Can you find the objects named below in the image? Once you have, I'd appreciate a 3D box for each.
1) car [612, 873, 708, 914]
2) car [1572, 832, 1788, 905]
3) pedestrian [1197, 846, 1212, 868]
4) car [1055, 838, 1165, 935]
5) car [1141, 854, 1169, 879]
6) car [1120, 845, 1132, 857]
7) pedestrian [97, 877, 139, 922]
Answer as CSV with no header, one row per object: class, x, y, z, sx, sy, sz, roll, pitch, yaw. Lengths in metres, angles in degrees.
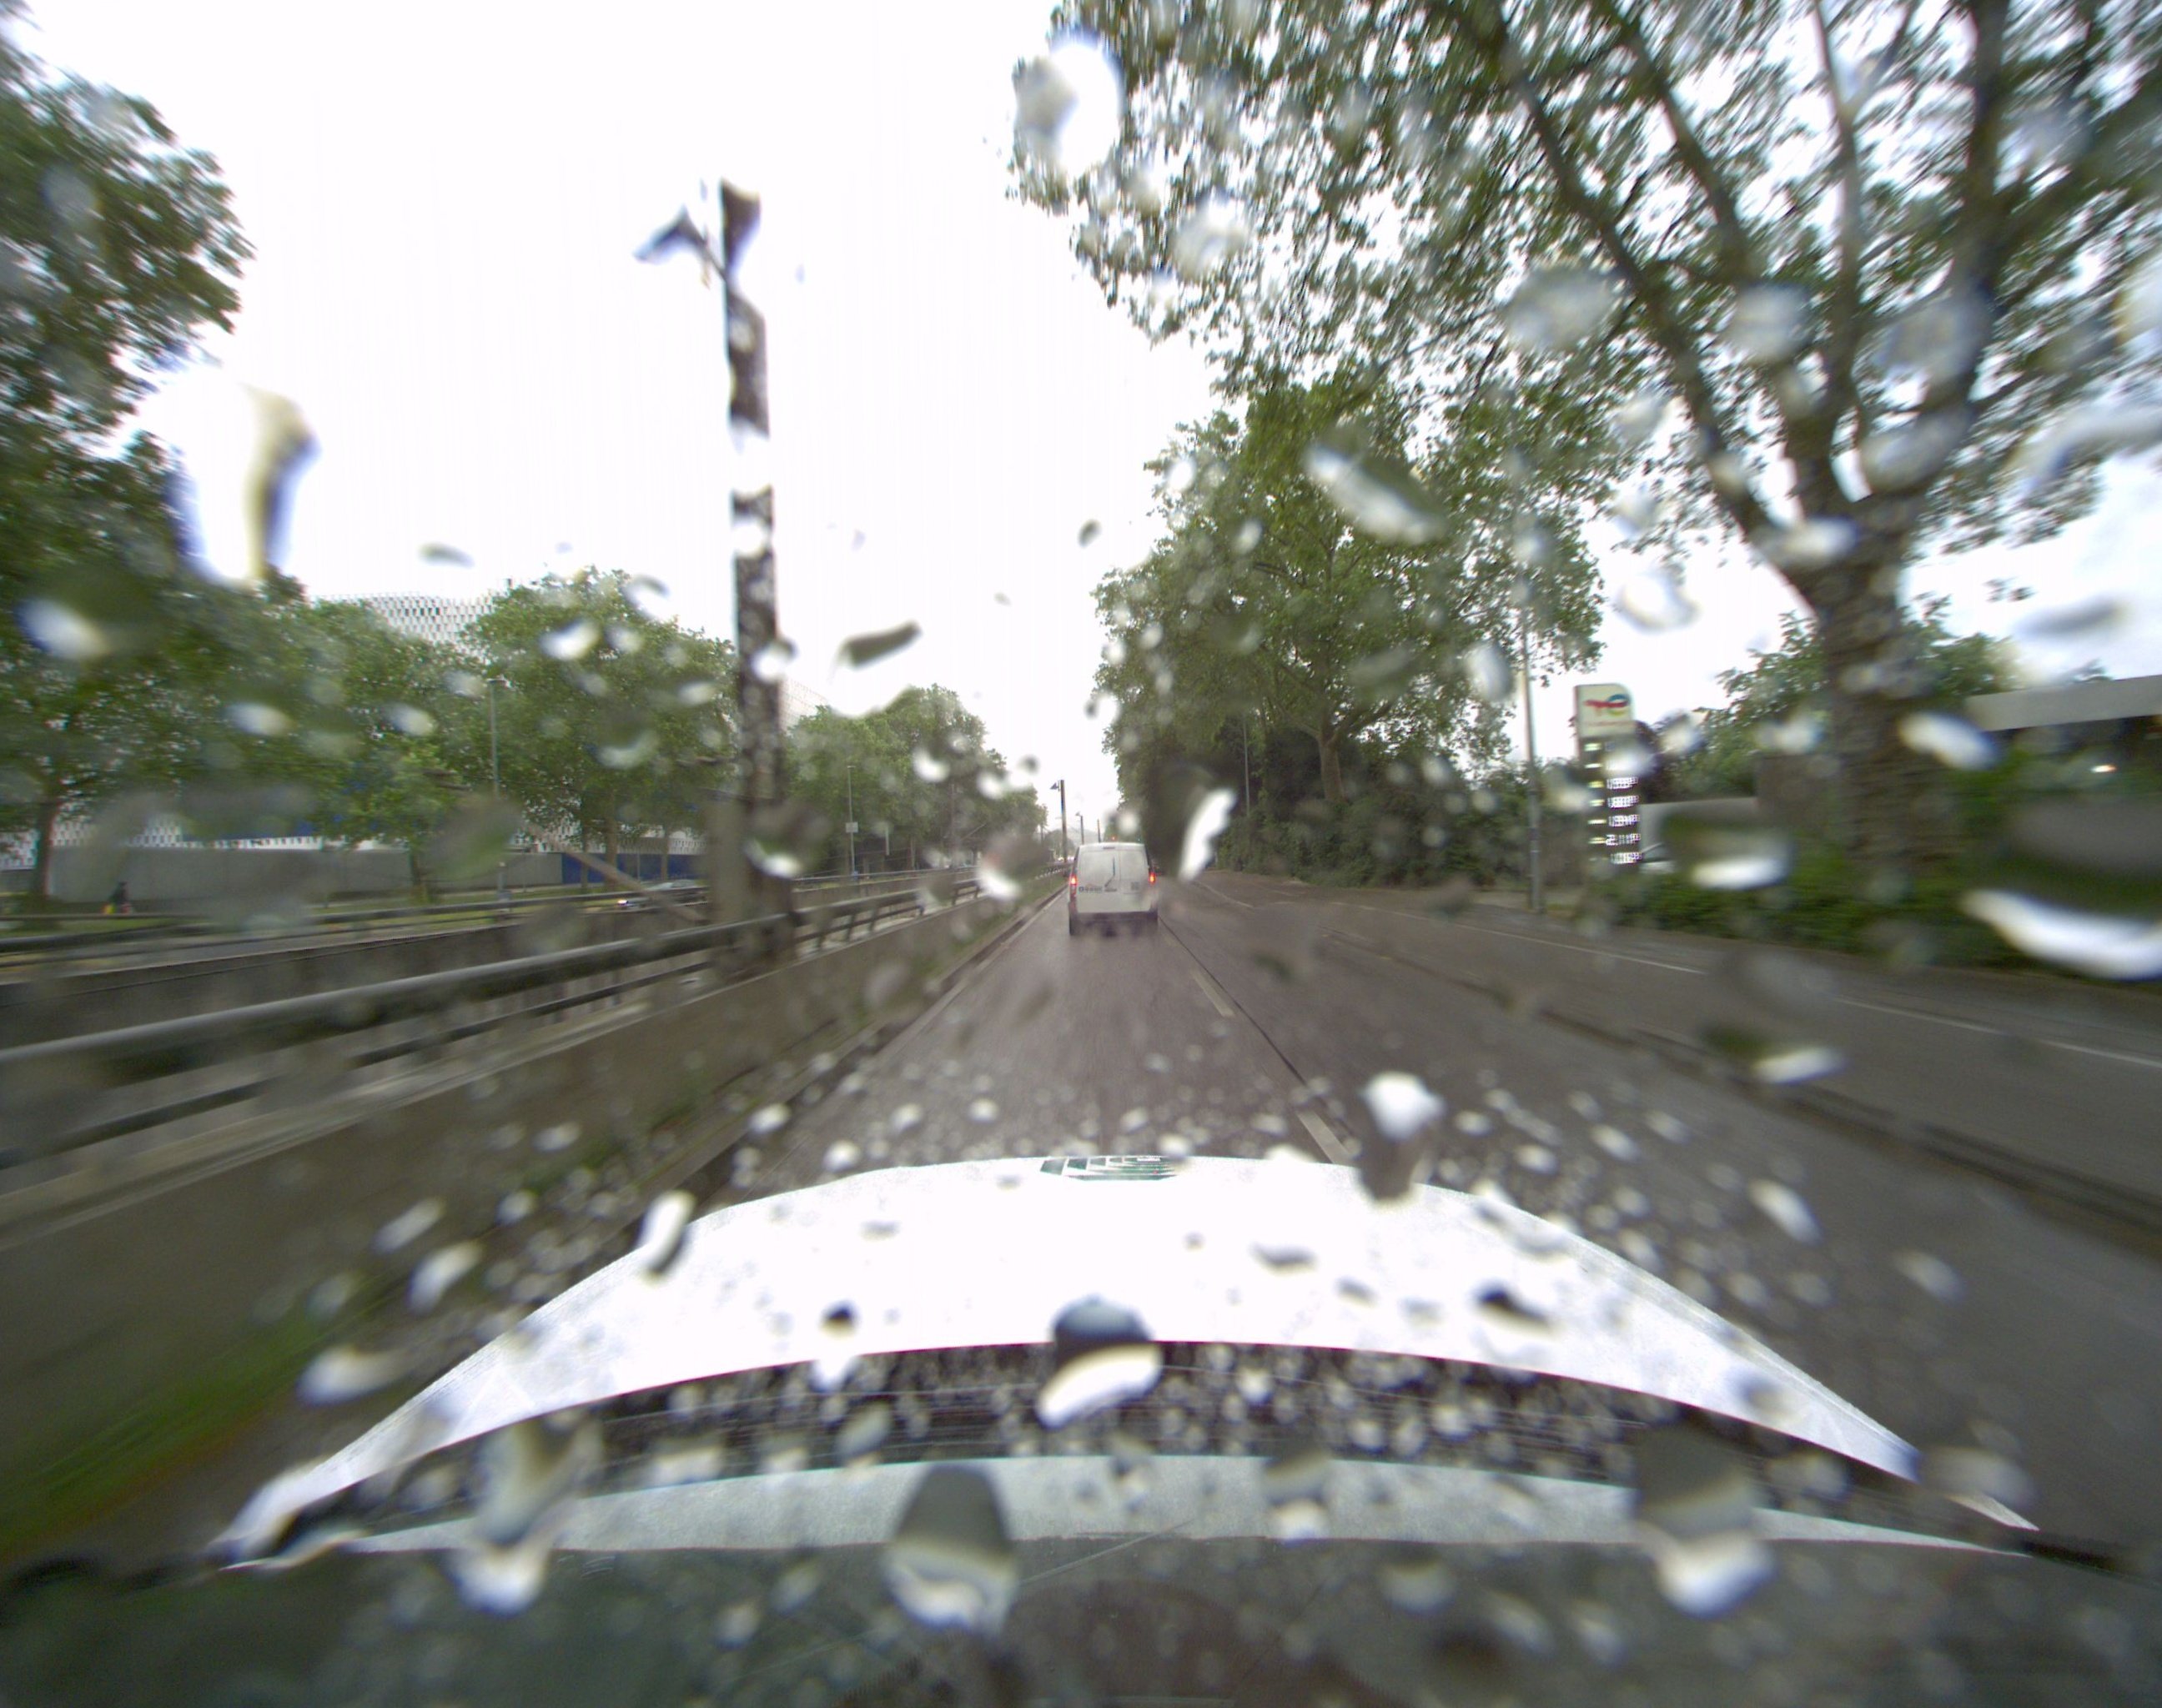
car,-17.068,1.567,33.226,1.989,1.403,3.790,-2,0,-3
car,13.043,0.297,17.887,1.616,1.432,3.515,0,0,-39
pedestrian,9.445,0.237,62.271,0.963,1.702,1.141,-1,-1,2
car,0.590,0.614,17.176,2.017,1.775,4.275,-1,0,1
car,5.588,0.922,61.290,1.983,1.750,4.007,-1,0,6
car,7.217,-0.479,130.383,1.985,1.750,4.004,-1,0,4
pedestrian,-44.535,2.090,37.683,0.997,2.014,0.790,-1,-1,3
